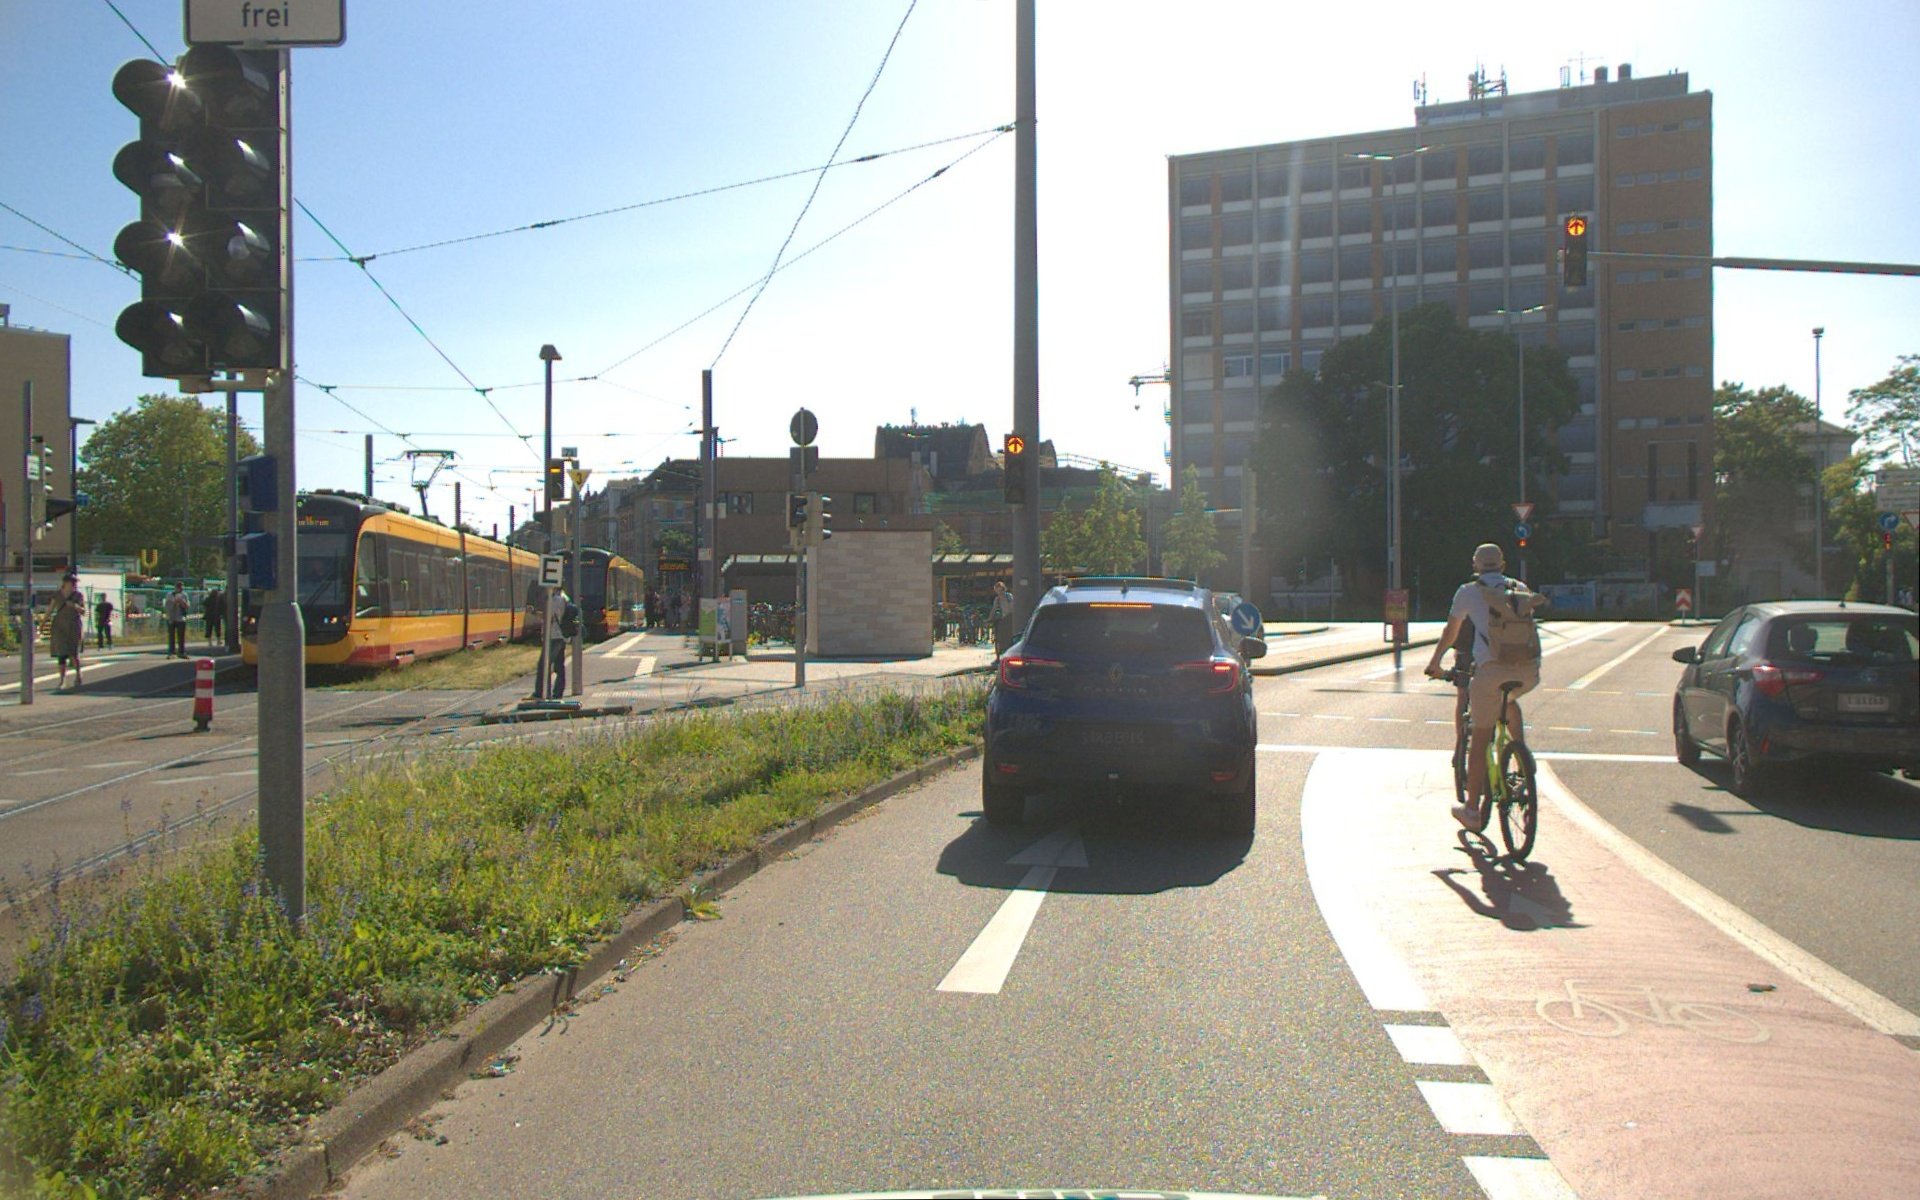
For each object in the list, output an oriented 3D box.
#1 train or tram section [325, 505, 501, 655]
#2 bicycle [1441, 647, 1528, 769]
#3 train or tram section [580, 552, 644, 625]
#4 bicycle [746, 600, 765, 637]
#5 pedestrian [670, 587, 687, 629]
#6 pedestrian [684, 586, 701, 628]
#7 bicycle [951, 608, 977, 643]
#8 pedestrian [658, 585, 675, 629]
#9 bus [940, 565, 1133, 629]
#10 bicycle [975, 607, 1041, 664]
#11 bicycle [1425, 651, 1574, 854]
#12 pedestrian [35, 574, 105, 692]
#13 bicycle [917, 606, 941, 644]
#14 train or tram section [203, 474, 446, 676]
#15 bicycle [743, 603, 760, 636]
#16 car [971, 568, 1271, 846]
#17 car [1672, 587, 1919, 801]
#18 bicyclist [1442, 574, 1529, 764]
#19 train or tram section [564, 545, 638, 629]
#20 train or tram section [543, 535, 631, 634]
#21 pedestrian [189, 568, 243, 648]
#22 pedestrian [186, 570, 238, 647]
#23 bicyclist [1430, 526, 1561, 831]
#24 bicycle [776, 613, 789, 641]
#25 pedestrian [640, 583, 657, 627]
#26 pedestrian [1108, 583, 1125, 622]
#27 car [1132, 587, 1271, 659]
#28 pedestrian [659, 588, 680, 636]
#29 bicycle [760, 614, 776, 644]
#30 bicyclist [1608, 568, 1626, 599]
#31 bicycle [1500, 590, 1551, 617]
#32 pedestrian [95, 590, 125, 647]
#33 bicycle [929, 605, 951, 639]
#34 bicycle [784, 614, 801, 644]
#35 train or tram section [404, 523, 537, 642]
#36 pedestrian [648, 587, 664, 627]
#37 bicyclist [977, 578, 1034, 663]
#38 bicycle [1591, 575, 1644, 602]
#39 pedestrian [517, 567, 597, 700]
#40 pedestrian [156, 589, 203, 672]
[{"bbox_3d":[-14.602,-0.477,45.022,2.764,3.569,10.589,1,0,-9],"label":"train or tram section"},{"bbox_3d":[4.832,0.955,15.234,0.707,0.976,1.884,1,0,18],"label":"bicycle"},{"bbox_3d":[-18.080,-0.563,86.350,2.818,3.569,10.519,0,0,-10],"label":"train or tram section"},{"bbox_3d":[-6.380,0.590,51.732,0.555,1.112,2.026,1,-1,-6],"label":"bicycle"},{"bbox_3d":[-12.830,0.362,75.499,0.660,1.889,0.702,1,-1,-5],"label":"pedestrian"},{"bbox_3d":[-12.649,0.343,78.296,0.726,1.951,0.740,1,-1,-12],"label":"pedestrian"},{"bbox_3d":[0.111,0.746,48.381,0.569,0.978,2.056,1,-1,-4],"label":"bicycle"},{"bbox_3d":[-12.795,0.297,72.059,0.621,1.889,0.700,1,-1,-15],"label":"pedestrian"},{"bbox_3d":[4.170,-0.124,94.071,12.236,3.455,2.862,0,-2,45],"label":"bus"},{"bbox_3d":[0.980,0.700,33.252,0.757,1.099,2.036,-1,-1,18],"label":"bicycle"},{"bbox_3d":[3.288,0.881,10.220,0.648,1.065,1.892,0,0,11],"label":"bicycle"},{"bbox_3d":[-14.660,0.528,27.253,0.748,1.882,0.900,0,2,-11],"label":"pedestrian"},{"bbox_3d":[-0.911,0.726,48.078,0.569,1.076,1.814,1,-1,-4],"label":"bicycle"},{"bbox_3d":[-12.899,-0.461,34.619,2.766,3.569,10.453,-1,0,-10],"label":"train or tram section"},{"bbox_3d":[-7.318,0.697,58.127,0.555,1.112,2.026,1,-1,-6],"label":"bicycle"},{"bbox_3d":[1.270,0.633,11.832,1.784,1.628,3.662,1,0,10],"label":"car"},{"bbox_3d":[7.232,0.687,13.997,1.719,1.568,3.661,0,0,15],"label":"car"},{"bbox_3d":[4.789,0.599,15.081,0.706,1.654,1.055,1,0,18],"label":"bicyclist"},{"bbox_3d":[-16.380,-0.547,75.977,2.818,3.569,10.519,0,0,-10],"label":"train or tram section"},{"bbox_3d":[-14.634,-0.551,65.601,2.818,3.569,10.518,0,0,-10],"label":"train or tram section"},{"bbox_3d":[-19.281,0.214,42.882,0.941,2.049,0.998,1,-1,-3],"label":"pedestrian"},{"bbox_3d":[-20.131,0.232,44.524,0.941,2.049,0.998,1,-1,-3],"label":"pedestrian"},{"bbox_3d":[3.276,0.457,10.194,0.649,1.778,1.006,0,0,11],"label":"bicyclist"},{"bbox_3d":[-6.287,0.944,58.486,0.413,0.954,1.377,1,0,-7],"label":"bicycle"},{"bbox_3d":[-13.876,0.240,73.669,0.727,1.951,0.740,1,-1,-10],"label":"pedestrian"},{"bbox_3d":[7.814,0.126,82.425,0.711,1.889,0.702,1,-1,-7],"label":"pedestrian"},{"bbox_3d":[5.180,0.449,35.083,1.765,1.417,4.089,-1,0,26],"label":"car"},{"bbox_3d":[-11.910,0.497,67.808,0.832,1.916,0.758,1,-1,-11],"label":"pedestrian"},{"bbox_3d":[-6.199,0.928,53.442,0.414,0.954,1.302,1,0,-11],"label":"bicycle"},{"bbox_3d":[37.690,-0.944,94.821,0.842,1.721,0.882,0,-1,29],"label":"bicyclist"},{"bbox_3d":[33.409,0.190,97.723,2.749,1.568,0.882,0,-1,30],"label":"bicycle"},{"bbox_3d":[-27.330,0.580,53.184,0.655,1.798,0.798,-1,0,-11],"label":"pedestrian"},{"bbox_3d":[-0.650,0.728,54.113,0.569,1.107,2.056,1,-1,-4],"label":"bicycle"},{"bbox_3d":[-5.451,0.943,53.722,0.414,0.954,1.303,1,0,-10],"label":"bicycle"},{"bbox_3d":[-16.261,-0.517,55.734,2.764,3.569,11.187,1,0,-9],"label":"train or tram section"},{"bbox_3d":[-14.307,0.334,77.869,0.620,1.889,0.702,1,-1,-5],"label":"pedestrian"},{"bbox_3d":[0.915,0.415,33.245,0.861,1.673,1.061,-1,-1,18],"label":"bicyclist"},{"bbox_3d":[37.689,-0.656,94.831,2.749,1.568,0.882,0,-1,30],"label":"bicycle"},{"bbox_3d":[-5.769,0.481,23.660,1.001,1.864,0.756,1,-1,-20],"label":"pedestrian"},{"bbox_3d":[-17.396,0.668,36.838,0.853,1.798,0.963,-1,0,-31],"label":"pedestrian"}]
